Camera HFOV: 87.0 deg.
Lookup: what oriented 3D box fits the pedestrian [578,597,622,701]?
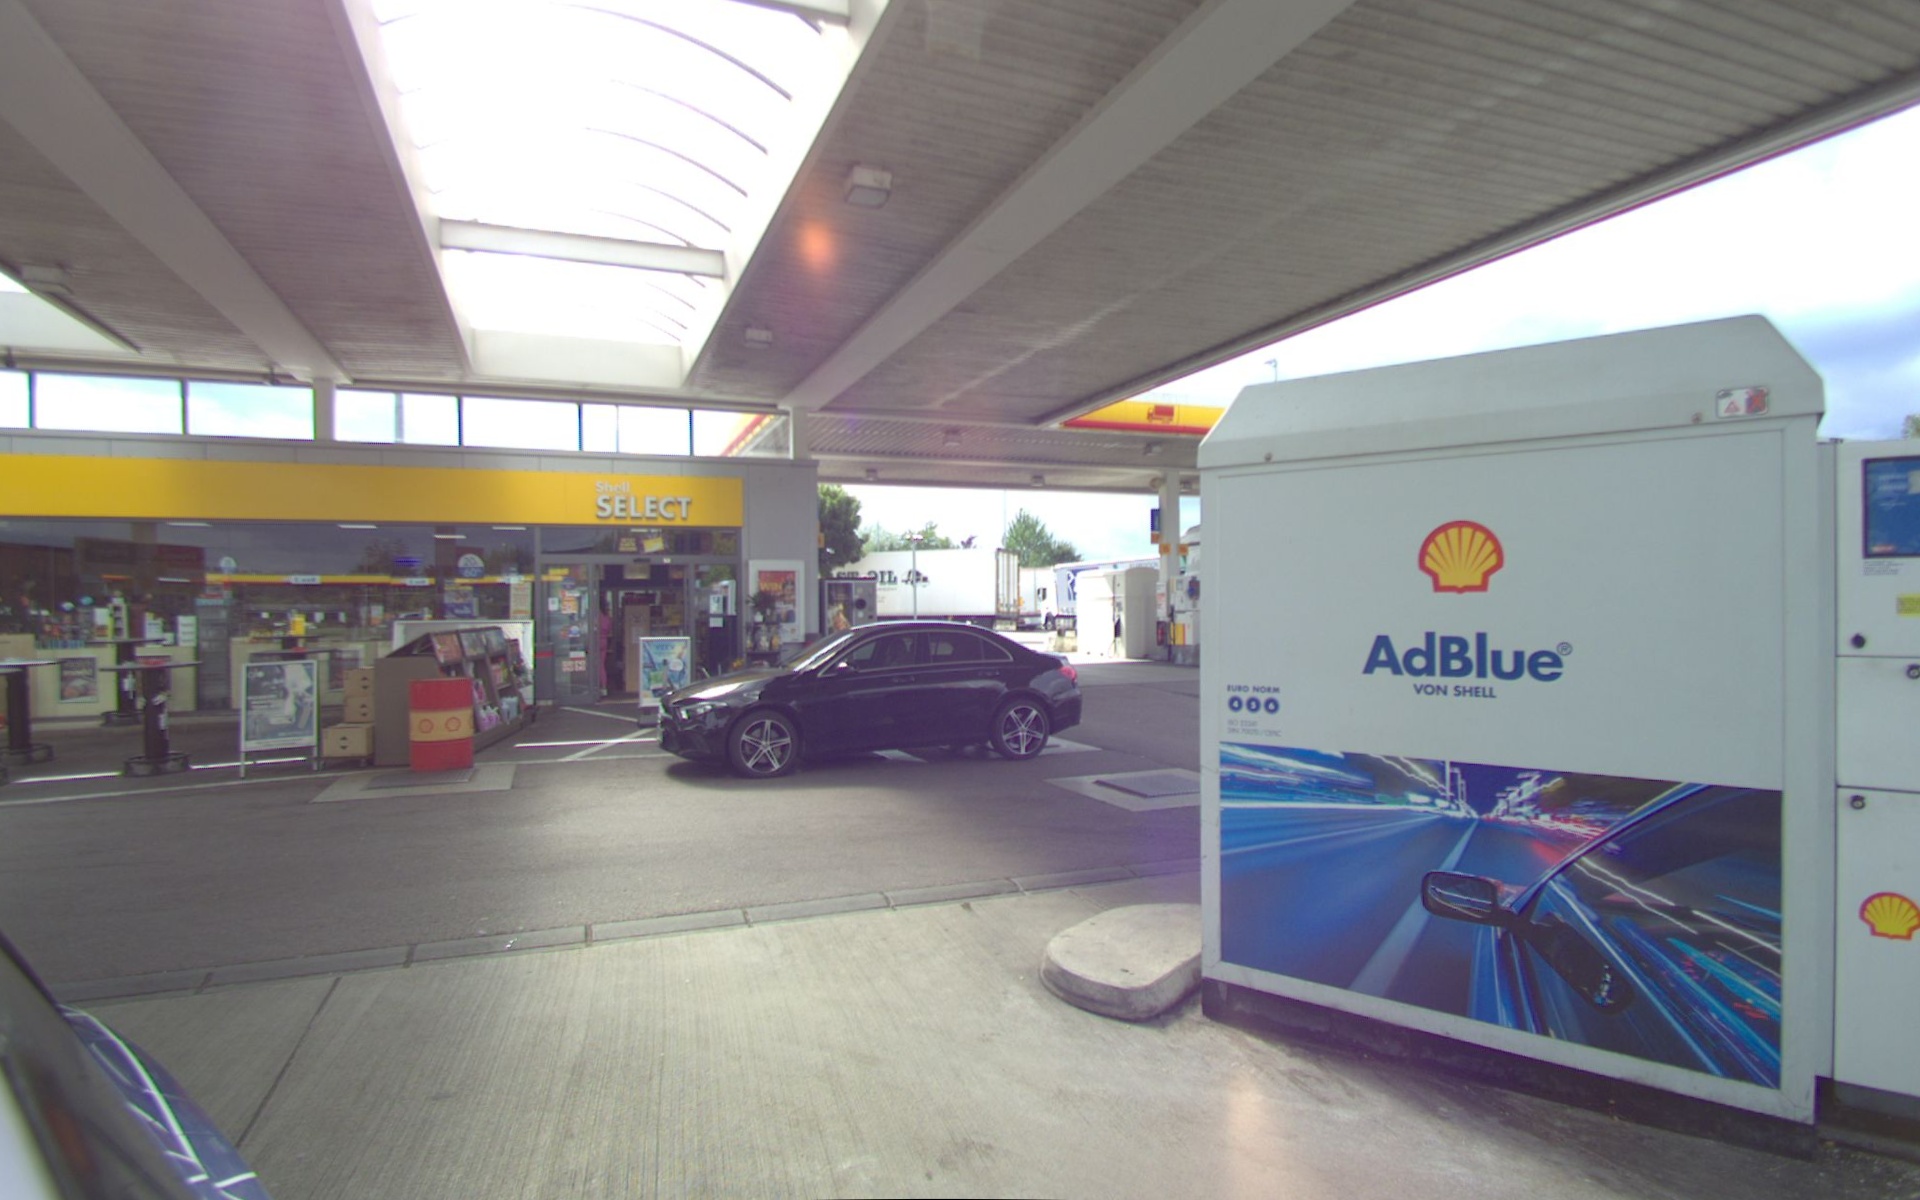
[{"bbox_3d":[-6.169,0.821,17.352,0.616,1.726,0.625,-1,0,-27],"label":"pedestrian"}]

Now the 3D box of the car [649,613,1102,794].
[{"bbox_3d":[-0.892,0.943,10.617,4.394,1.511,1.785,-1,0,-21],"label":"car"}]

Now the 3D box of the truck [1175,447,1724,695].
[{"bbox_3d":[9.662,-0.461,23.085,2.491,4.069,12.947,-1,0,-22],"label":"truck"}]

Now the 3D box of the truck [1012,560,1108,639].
[{"bbox_3d":[5.932,-0.045,61.205,3.333,4.538,6.249,-1,0,-20],"label":"truck"}]

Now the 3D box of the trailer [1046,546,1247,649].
[{"bbox_3d":[9.109,-0.096,52.657,3.294,4.600,14.397,-1,0,-20],"label":"trailer"}]

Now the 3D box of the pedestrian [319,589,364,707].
[{"bbox_3d":[-10.317,0.786,16.876,0.572,1.920,0.510,-1,0,-37],"label":"pedestrian"}]

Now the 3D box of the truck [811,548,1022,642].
[{"bbox_3d":[-2.098,-0.179,46.823,9.536,4.036,2.772,-1,0,25],"label":"truck"}]
